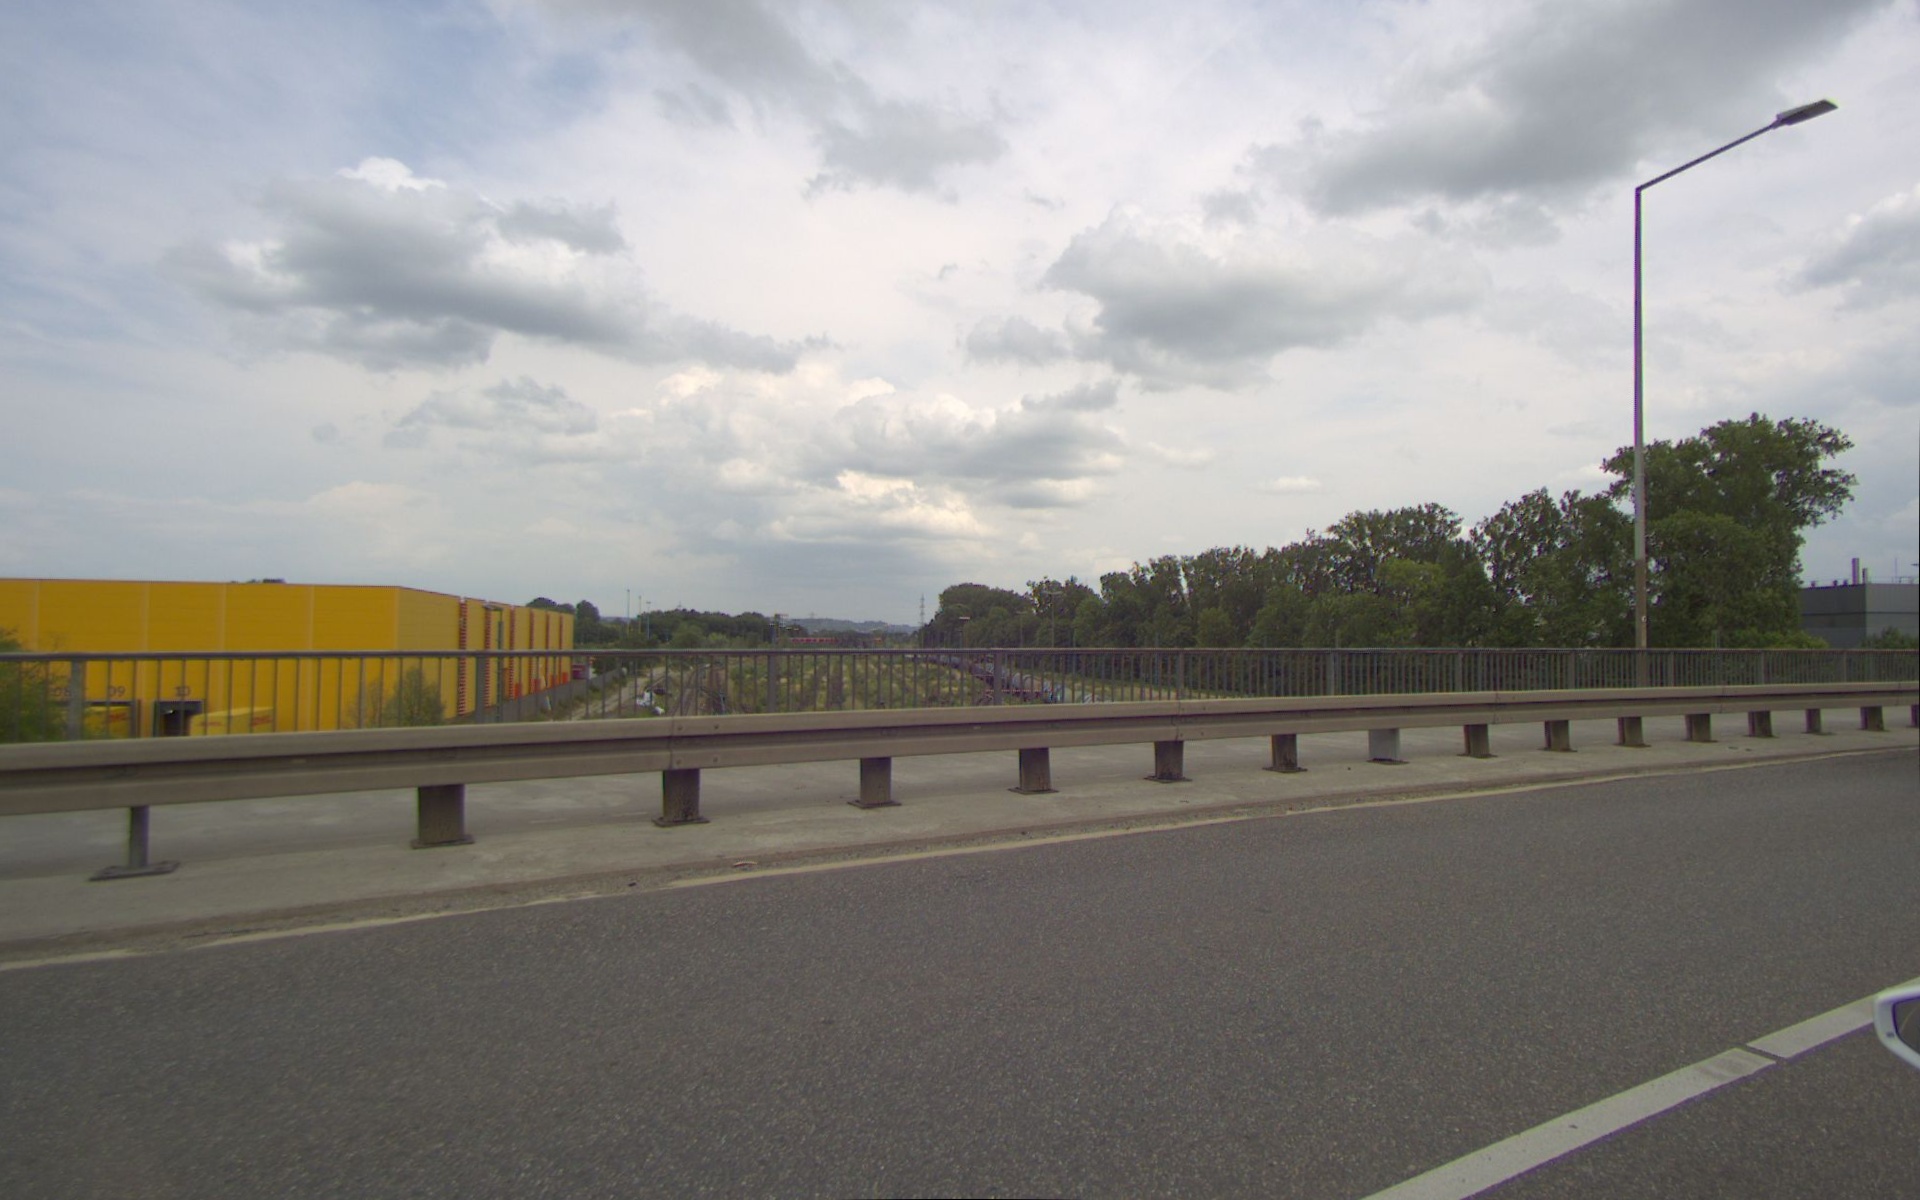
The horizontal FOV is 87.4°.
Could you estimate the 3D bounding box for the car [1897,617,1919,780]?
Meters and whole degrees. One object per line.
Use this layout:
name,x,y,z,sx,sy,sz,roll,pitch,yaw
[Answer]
car,11.024,0.986,9.551,3.946,1.512,1.754,2,-1,-25
